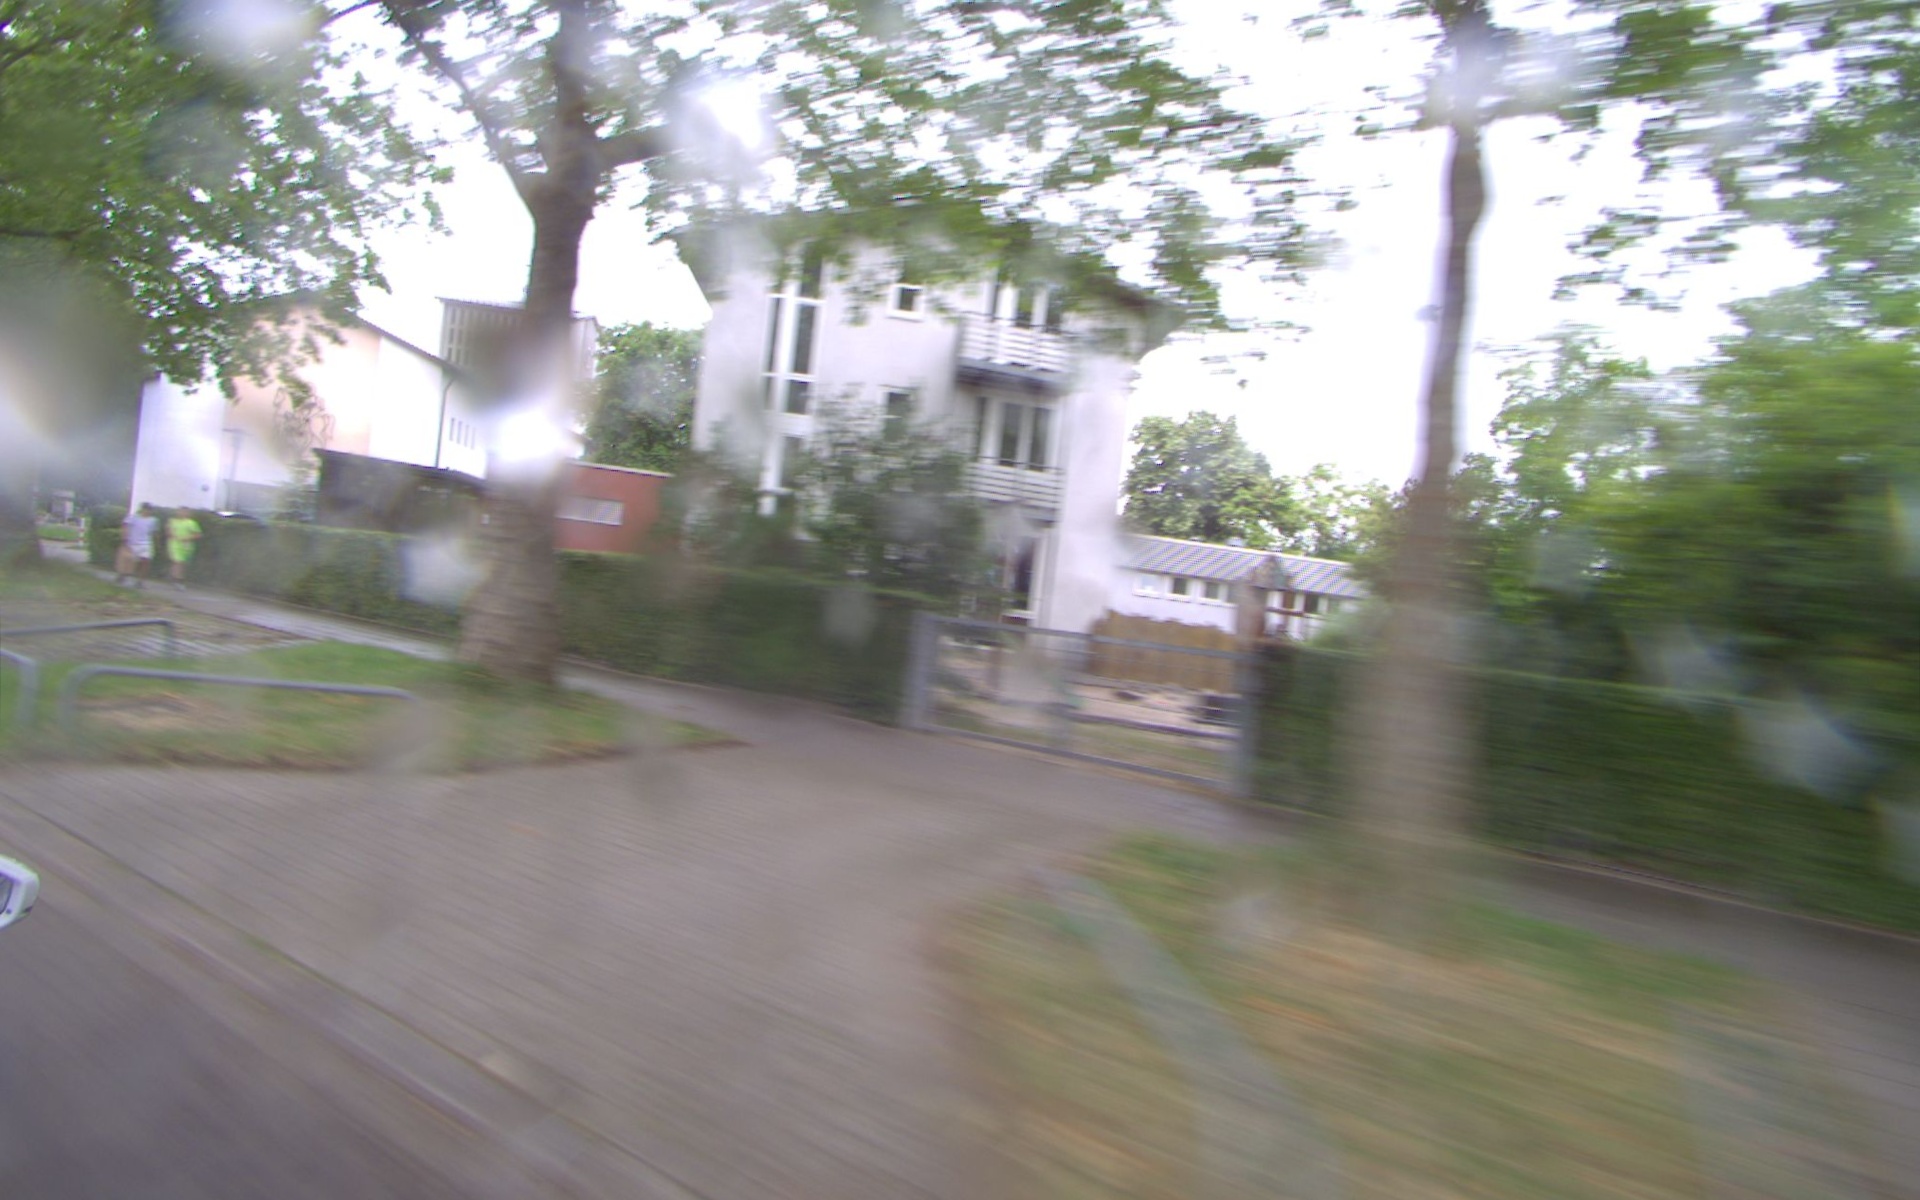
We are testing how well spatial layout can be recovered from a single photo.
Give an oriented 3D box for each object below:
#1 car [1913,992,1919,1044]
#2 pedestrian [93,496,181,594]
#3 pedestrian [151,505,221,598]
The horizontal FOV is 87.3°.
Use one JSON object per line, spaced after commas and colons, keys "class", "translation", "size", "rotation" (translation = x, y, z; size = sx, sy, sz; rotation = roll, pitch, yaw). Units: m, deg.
{"class": "car", "translation": [4.571, 1.198, 2.308], "size": [1.588, 1.586, 3.867], "rotation": [7, 1, 14]}
{"class": "pedestrian", "translation": [-14.315, -0.944, 17.502], "size": [0.845, 1.558, 0.834], "rotation": [7, 1, 28]}
{"class": "pedestrian", "translation": [-14.013, -0.875, 18.209], "size": [0.950, 1.557, 0.557], "rotation": [7, 1, 28]}
